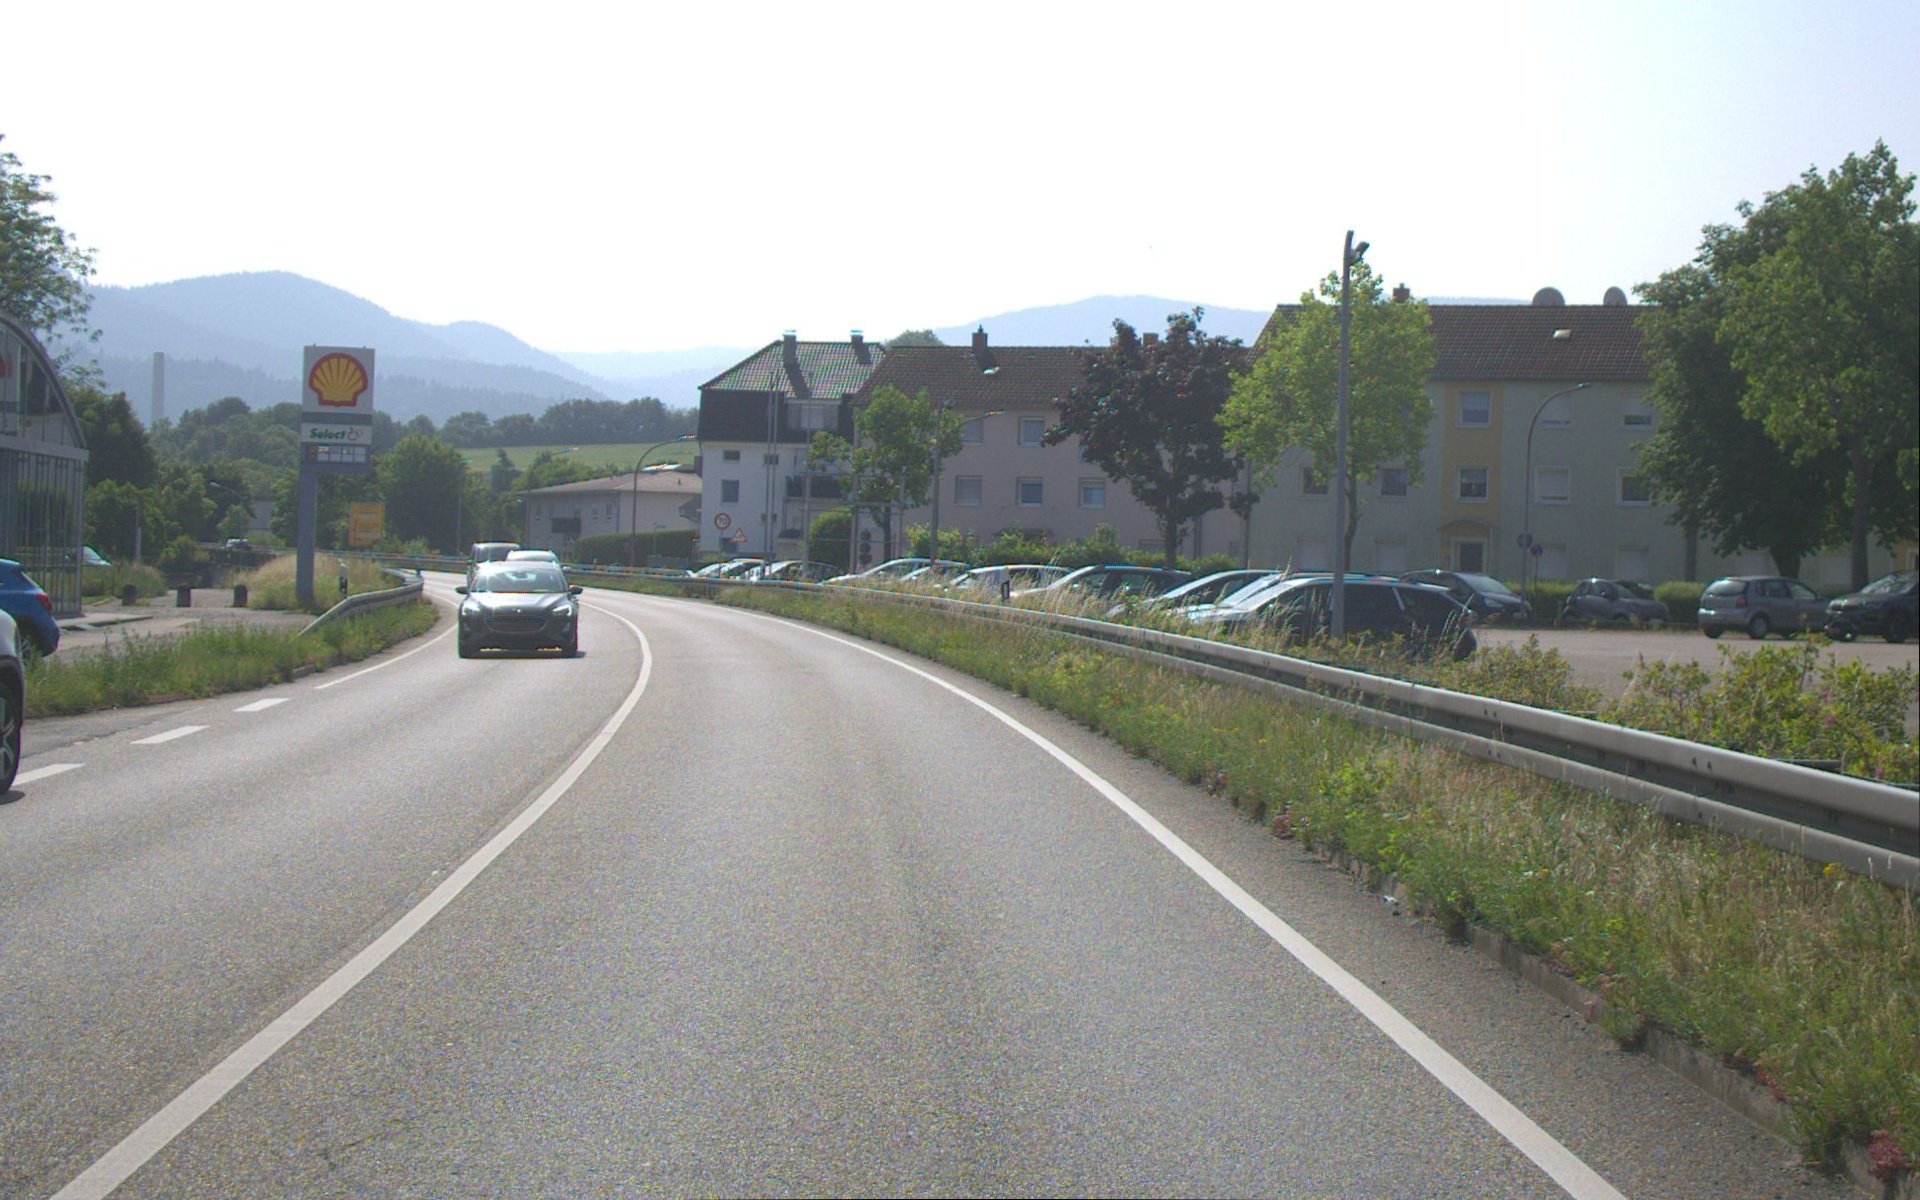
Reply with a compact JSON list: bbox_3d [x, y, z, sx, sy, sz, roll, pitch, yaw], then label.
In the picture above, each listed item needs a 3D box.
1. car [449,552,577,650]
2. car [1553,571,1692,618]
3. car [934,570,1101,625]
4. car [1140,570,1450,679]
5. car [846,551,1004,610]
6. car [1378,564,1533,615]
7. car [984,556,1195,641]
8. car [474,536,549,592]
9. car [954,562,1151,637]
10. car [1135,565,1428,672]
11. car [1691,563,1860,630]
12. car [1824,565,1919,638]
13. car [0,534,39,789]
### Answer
[{"bbox_3d":[-7.050,-0.011,53.934,1.751,1.469,4.288,-1,1,-10],"label":"car"},{"bbox_3d":[17.530,-0.153,91.120,1.589,1.182,3.663,1,0,-31],"label":"car"},{"bbox_3d":[1.549,-0.062,93.254,4.319,1.439,1.629,1,0,-8],"label":"car"},{"bbox_3d":[4.760,0.336,49.163,4.159,1.485,1.732,-1,0,-5],"label":"car"},{"bbox_3d":[-1.027,-0.556,98.500,4.318,1.634,2.140,1,0,-6],"label":"car"},{"bbox_3d":[13.904,-0.310,96.728,1.908,1.400,4.525,0,0,-31],"label":"car"},{"bbox_3d":[2.584,-0.035,69.093,3.986,1.634,1.888,1,0,-6],"label":"car"},{"bbox_3d":[-15.650,-1.261,119.870,1.914,1.879,4.912,-1,1,-15],"label":"car"},{"bbox_3d":[2.008,-0.014,75.175,3.986,1.574,1.779,1,0,-10],"label":"car"},{"bbox_3d":[4.835,0.268,52.036,4.159,1.551,1.771,-1,0,-5],"label":"car"},{"bbox_3d":[19.057,-0.087,80.303,3.753,1.516,1.657,0,1,-32],"label":"car"},{"bbox_3d":[21.711,0.049,77.122,4.482,1.595,1.841,0,0,-30],"label":"car"},{"bbox_3d":[-7.098,0.416,20.484,1.811,1.624,4.541,0,1,3],"label":"car"}]
